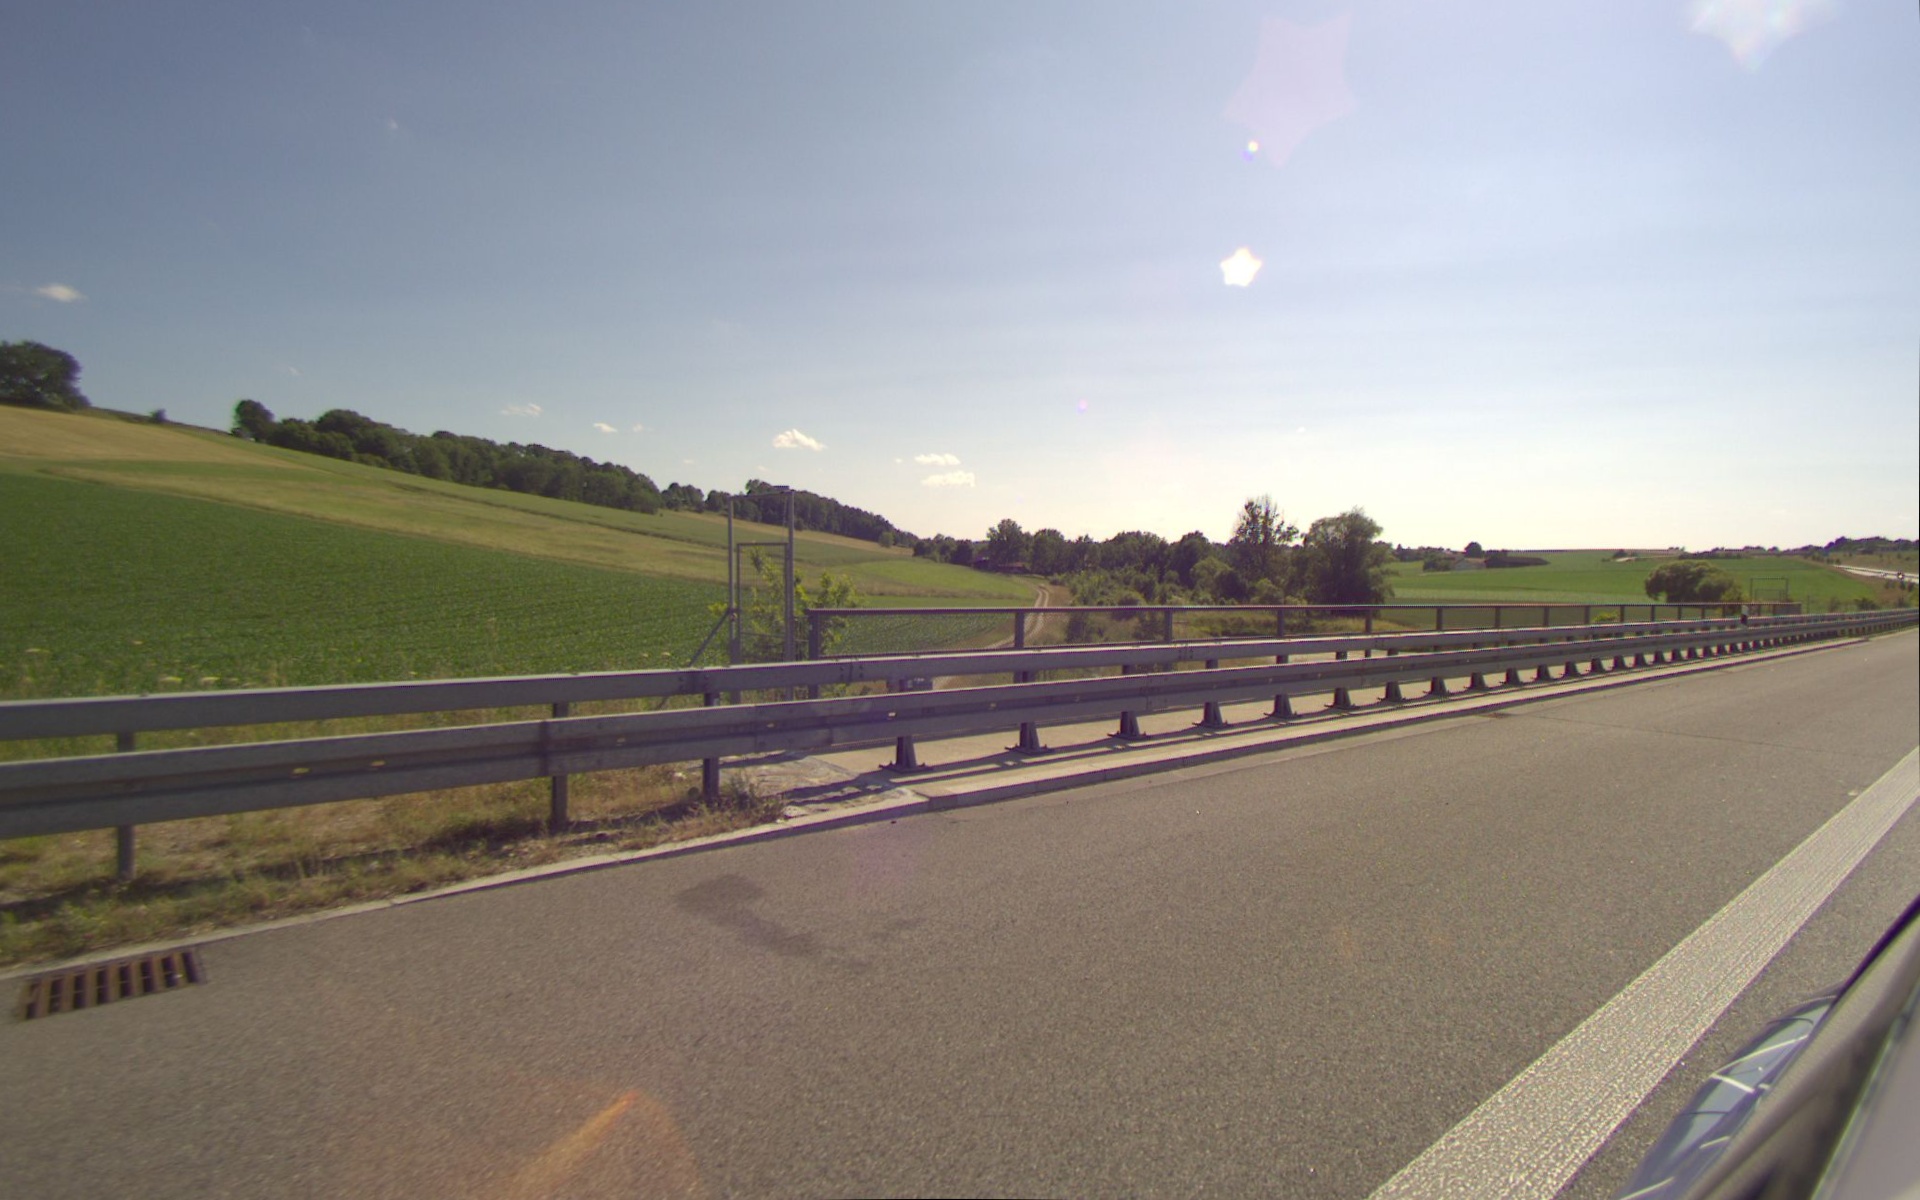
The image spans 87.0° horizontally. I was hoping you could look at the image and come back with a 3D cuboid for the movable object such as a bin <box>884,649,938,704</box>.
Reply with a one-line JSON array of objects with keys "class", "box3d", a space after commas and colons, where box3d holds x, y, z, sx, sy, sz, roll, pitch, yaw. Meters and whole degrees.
[{"class": "movable object such as a bin", "box3d": [-3.061, 4.788, 64.404, 3.223, 2.805, 6.235, -1, 1, -2]}]
